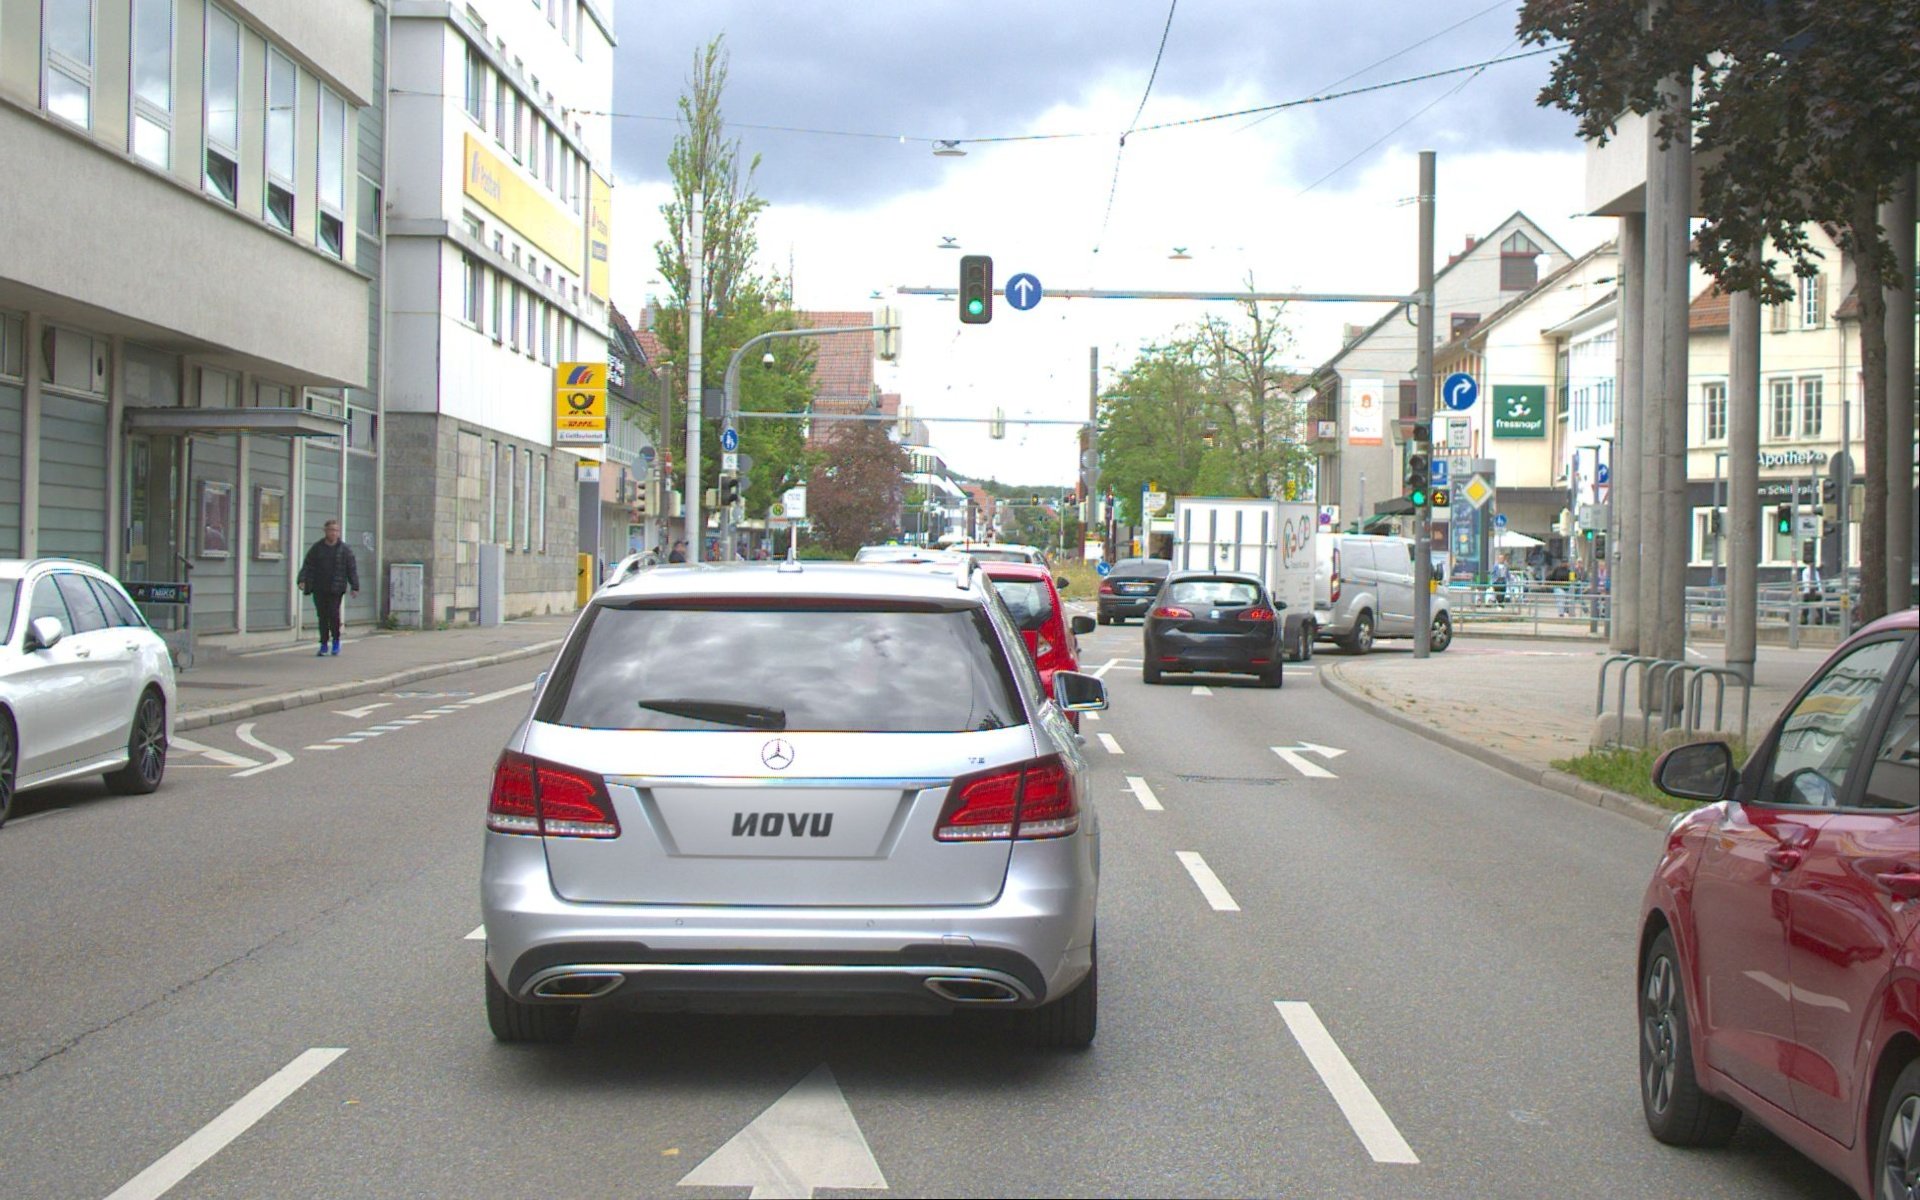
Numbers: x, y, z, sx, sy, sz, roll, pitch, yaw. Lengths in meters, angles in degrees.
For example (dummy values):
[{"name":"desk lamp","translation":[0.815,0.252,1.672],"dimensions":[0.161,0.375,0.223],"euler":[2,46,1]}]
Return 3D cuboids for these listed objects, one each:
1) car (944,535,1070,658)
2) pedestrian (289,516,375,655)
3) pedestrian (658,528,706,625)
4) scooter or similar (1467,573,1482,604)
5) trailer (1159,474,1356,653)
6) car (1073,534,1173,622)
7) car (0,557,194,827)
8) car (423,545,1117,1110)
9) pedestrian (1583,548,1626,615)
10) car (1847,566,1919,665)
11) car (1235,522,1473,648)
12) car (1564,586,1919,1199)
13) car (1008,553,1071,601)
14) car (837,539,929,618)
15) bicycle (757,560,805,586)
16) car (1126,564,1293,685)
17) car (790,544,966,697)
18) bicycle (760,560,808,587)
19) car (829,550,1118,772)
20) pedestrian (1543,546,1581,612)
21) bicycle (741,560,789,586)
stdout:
[{"name":"car","translation":[0.666,-0.086,51.590],"dimensions":[1.734,1.753,4.000],"euler":[1,1,-1]},{"name":"pedestrian","translation":[-7.994,-0.194,43.809],"dimensions":[0.861,1.712,1.032],"euler":[2,1,-1]},{"name":"pedestrian","translation":[-5.009,-0.425,61.911],"dimensions":[0.648,1.712,0.782],"euler":[2,1,8]},{"name":"scooter or similar","translation":[16.765,-0.374,112.022],"dimensions":[0.271,0.998,1.029],"euler":[1,1,-3]},{"name":"trailer","translation":[4.737,-0.547,54.161],"dimensions":[1.880,2.604,4.318],"euler":[4,1,20]},{"name":"car","translation":[3.412,-0.478,72.615],"dimensions":[1.828,1.779,4.000],"euler":[1,1,-1]},{"name":"car","translation":[-5.889,0.481,19.952],"dimensions":[1.670,1.429,4.552],"euler":[-1,1,3]},{"name":"car","translation":[-0.554,0.583,11.330],"dimensions":[1.845,1.503,4.171],"euler":[1,1,-1]},{"name":"pedestrian","translation":[16.745,-0.479,89.384],"dimensions":[0.786,1.712,0.650],"euler":[2,1,-26]},{"name":"car","translation":[17.557,0.276,59.775],"dimensions":[3.786,1.664,1.929],"euler":[1,1,2]},{"name":"car","translation":[6.735,-0.226,58.280],"dimensions":[1.881,1.939,4.896],"euler":[4,1,34]},{"name":"car","translation":[2.650,0.759,7.979],"dimensions":[1.698,1.447,4.000],"euler":[3,1,0]},{"name":"car","translation":[2.441,-0.717,106.272],"dimensions":[1.734,1.406,4.000],"euler":[1,1,-1]},{"name":"car","translation":[-1.635,-0.487,74.354],"dimensions":[1.776,1.626,4.768],"euler":[0,1,1]},{"name":"bicycle","translation":[-7.564,-1.130,145.224],"dimensions":[1.937,1.025,0.530],"euler":[2,0,-8]},{"name":"car","translation":[3.132,0.274,43.780],"dimensions":[1.734,1.406,4.000],"euler":[1,1,-1]},{"name":"car","translation":[-0.858,0.177,36.300],"dimensions":[1.734,1.503,4.000],"euler":[1,1,-1]},{"name":"bicycle","translation":[-7.374,-1.112,144.245],"dimensions":[1.937,1.025,0.530],"euler":[2,0,-8]},{"name":"car","translation":[0.179,0.389,25.707],"dimensions":[1.734,1.503,3.999],"euler":[1,1,6]},{"name":"pedestrian","translation":[15.722,-0.544,89.777],"dimensions":[0.702,1.712,0.649],"euler":[0,1,-37]},{"name":"bicycle","translation":[-8.052,-1.109,141.909],"dimensions":[1.937,1.025,0.530],"euler":[2,0,-8]}]
